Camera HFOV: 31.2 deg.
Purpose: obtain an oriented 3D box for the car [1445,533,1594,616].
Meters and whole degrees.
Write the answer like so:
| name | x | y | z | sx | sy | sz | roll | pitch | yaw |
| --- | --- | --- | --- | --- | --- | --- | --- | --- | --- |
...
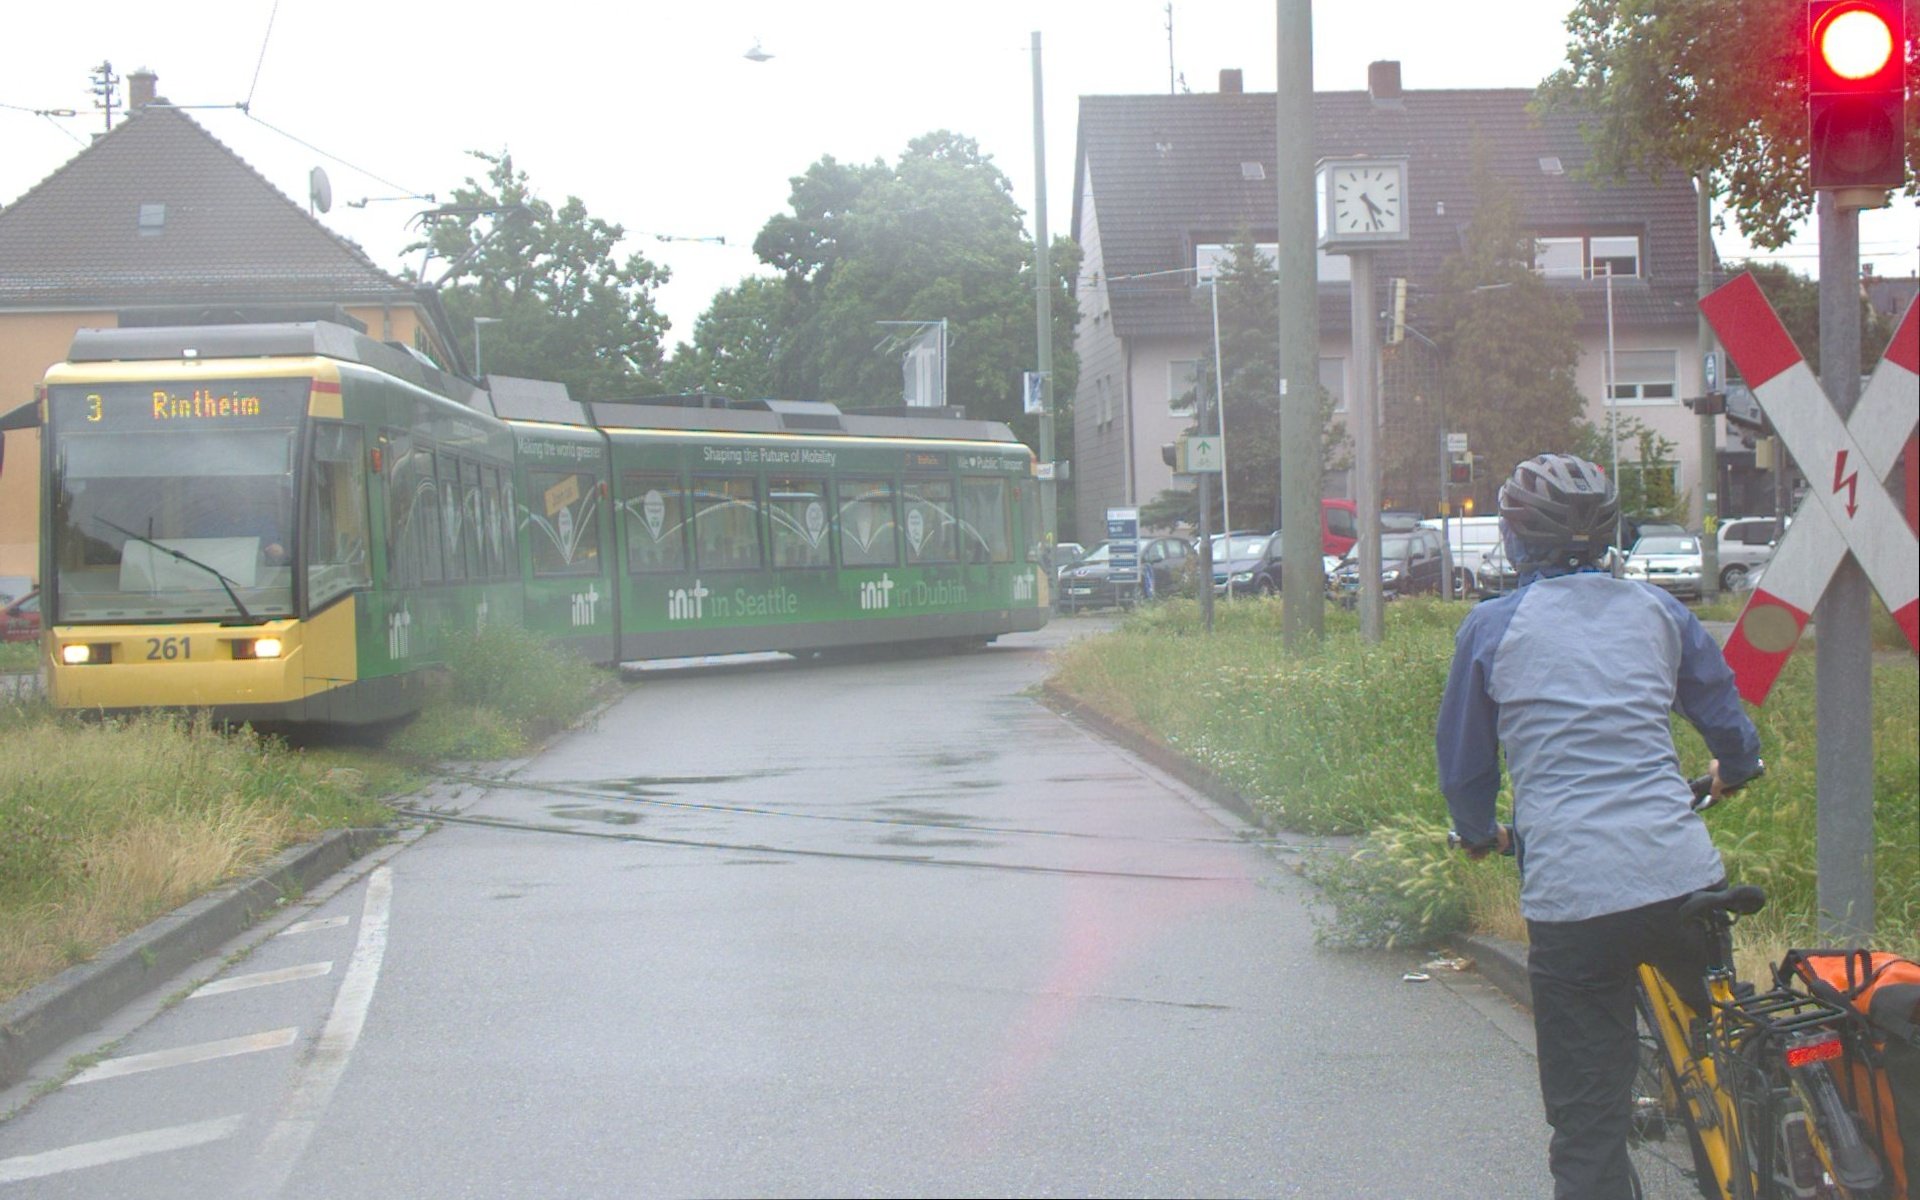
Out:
| name | x | y | z | sx | sy | sz | roll | pitch | yaw |
| --- | --- | --- | --- | --- | --- | --- | --- | --- | --- |
| car | 11.516 | -0.520 | 70.575 | 1.996 | 1.634 | 3.995 | 1 | 0 | 25 |

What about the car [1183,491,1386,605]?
| name | x | y | z | sx | sy | sz | roll | pitch | yaw |
| --- | --- | --- | --- | --- | --- | --- | --- | --- | --- |
| car | 7.542 | -1.203 | 79.797 | 4.398 | 2.557 | 1.999 | 1 | 0 | 14 |

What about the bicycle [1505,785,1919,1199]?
| name | x | y | z | sx | sy | sz | roll | pitch | yaw |
| --- | --- | --- | --- | --- | --- | --- | --- | --- | --- |
| bicycle | 1.351 | 0.897 | 6.068 | 0.446 | 1.001 | 1.728 | -1 | 1 | -2 |

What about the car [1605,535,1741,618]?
| name | x | y | z | sx | sy | sz | roll | pitch | yaw |
| --- | --- | --- | --- | --- | --- | --- | --- | --- | --- |
| car | 14.745 | -0.478 | 70.966 | 1.843 | 1.634 | 3.995 | 1 | 0 | 25 |

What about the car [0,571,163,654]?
| name | x | y | z | sx | sy | sz | roll | pitch | yaw |
| --- | --- | --- | --- | --- | --- | --- | --- | --- | --- |
| car | -16.670 | 0.215 | 62.592 | 3.986 | 1.451 | 1.834 | 1 | 0 | -6 |

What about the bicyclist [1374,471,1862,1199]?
| name | x | y | z | sx | sy | sz | roll | pitch | yaw |
| --- | --- | --- | --- | --- | --- | --- | --- | --- | --- |
| bicyclist | 1.143 | 0.597 | 6.135 | 0.667 | 1.620 | 0.853 | 1 | 0 | -2 |

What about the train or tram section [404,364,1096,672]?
| name | x | y | z | sx | sy | sz | roll | pitch | yaw |
| --- | --- | --- | --- | --- | --- | --- | --- | --- | --- |
| train or tram section | -2.286 | -1.089 | 45.945 | 2.765 | 3.541 | 13.113 | -1 | 1 | 28 |

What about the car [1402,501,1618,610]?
| name | x | y | z | sx | sy | sz | roll | pitch | yaw |
| --- | --- | --- | --- | --- | --- | --- | --- | --- | --- |
| car | 12.164 | -0.988 | 76.233 | 4.395 | 2.317 | 2.000 | 1 | 0 | -2 |

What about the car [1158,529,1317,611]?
| name | x | y | z | sx | sy | sz | roll | pitch | yaw |
| --- | --- | --- | --- | --- | --- | --- | --- | --- | --- |
| car | 5.805 | -0.608 | 71.522 | 1.996 | 1.634 | 3.995 | 1 | 0 | 25 |

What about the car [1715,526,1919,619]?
| name | x | y | z | sx | sy | sz | roll | pitch | yaw |
| --- | --- | --- | --- | --- | --- | --- | --- | --- | --- |
| car | 16.350 | -0.519 | 65.105 | 3.684 | 1.695 | 1.890 | 1 | 0 | 0 |

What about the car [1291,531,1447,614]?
| name | x | y | z | sx | sy | sz | roll | pitch | yaw |
| --- | --- | --- | --- | --- | --- | --- | --- | --- | --- |
| car | 8.398 | -0.562 | 70.354 | 1.996 | 1.634 | 3.995 | 1 | 0 | 25 |

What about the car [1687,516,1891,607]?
| name | x | y | z | sx | sy | sz | roll | pitch | yaw |
| --- | --- | --- | --- | --- | --- | --- | --- | --- | --- |
| car | 18.368 | -0.844 | 76.272 | 3.986 | 1.944 | 2.000 | 1 | 0 | -2 |

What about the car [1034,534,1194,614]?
| name | x | y | z | sx | sy | sz | roll | pitch | yaw |
| --- | --- | --- | --- | --- | --- | --- | --- | --- | --- |
| car | 3.292 | -0.545 | 72.768 | 1.996 | 1.634 | 3.995 | 1 | 0 | 25 |

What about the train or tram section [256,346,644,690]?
| name | x | y | z | sx | sy | sz | roll | pitch | yaw |
| --- | --- | --- | --- | --- | --- | --- | --- | --- | --- |
| train or tram section | -5.569 | -0.885 | 38.386 | 2.762 | 3.541 | 4.986 | -1 | 1 | 10 |

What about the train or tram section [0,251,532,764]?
| name | x | y | z | sx | sy | sz | roll | pitch | yaw |
| --- | --- | --- | --- | --- | --- | --- | --- | --- | --- |
| train or tram section | -5.771 | -0.753 | 30.166 | 2.760 | 3.541 | 12.205 | -1 | 1 | -2 |
